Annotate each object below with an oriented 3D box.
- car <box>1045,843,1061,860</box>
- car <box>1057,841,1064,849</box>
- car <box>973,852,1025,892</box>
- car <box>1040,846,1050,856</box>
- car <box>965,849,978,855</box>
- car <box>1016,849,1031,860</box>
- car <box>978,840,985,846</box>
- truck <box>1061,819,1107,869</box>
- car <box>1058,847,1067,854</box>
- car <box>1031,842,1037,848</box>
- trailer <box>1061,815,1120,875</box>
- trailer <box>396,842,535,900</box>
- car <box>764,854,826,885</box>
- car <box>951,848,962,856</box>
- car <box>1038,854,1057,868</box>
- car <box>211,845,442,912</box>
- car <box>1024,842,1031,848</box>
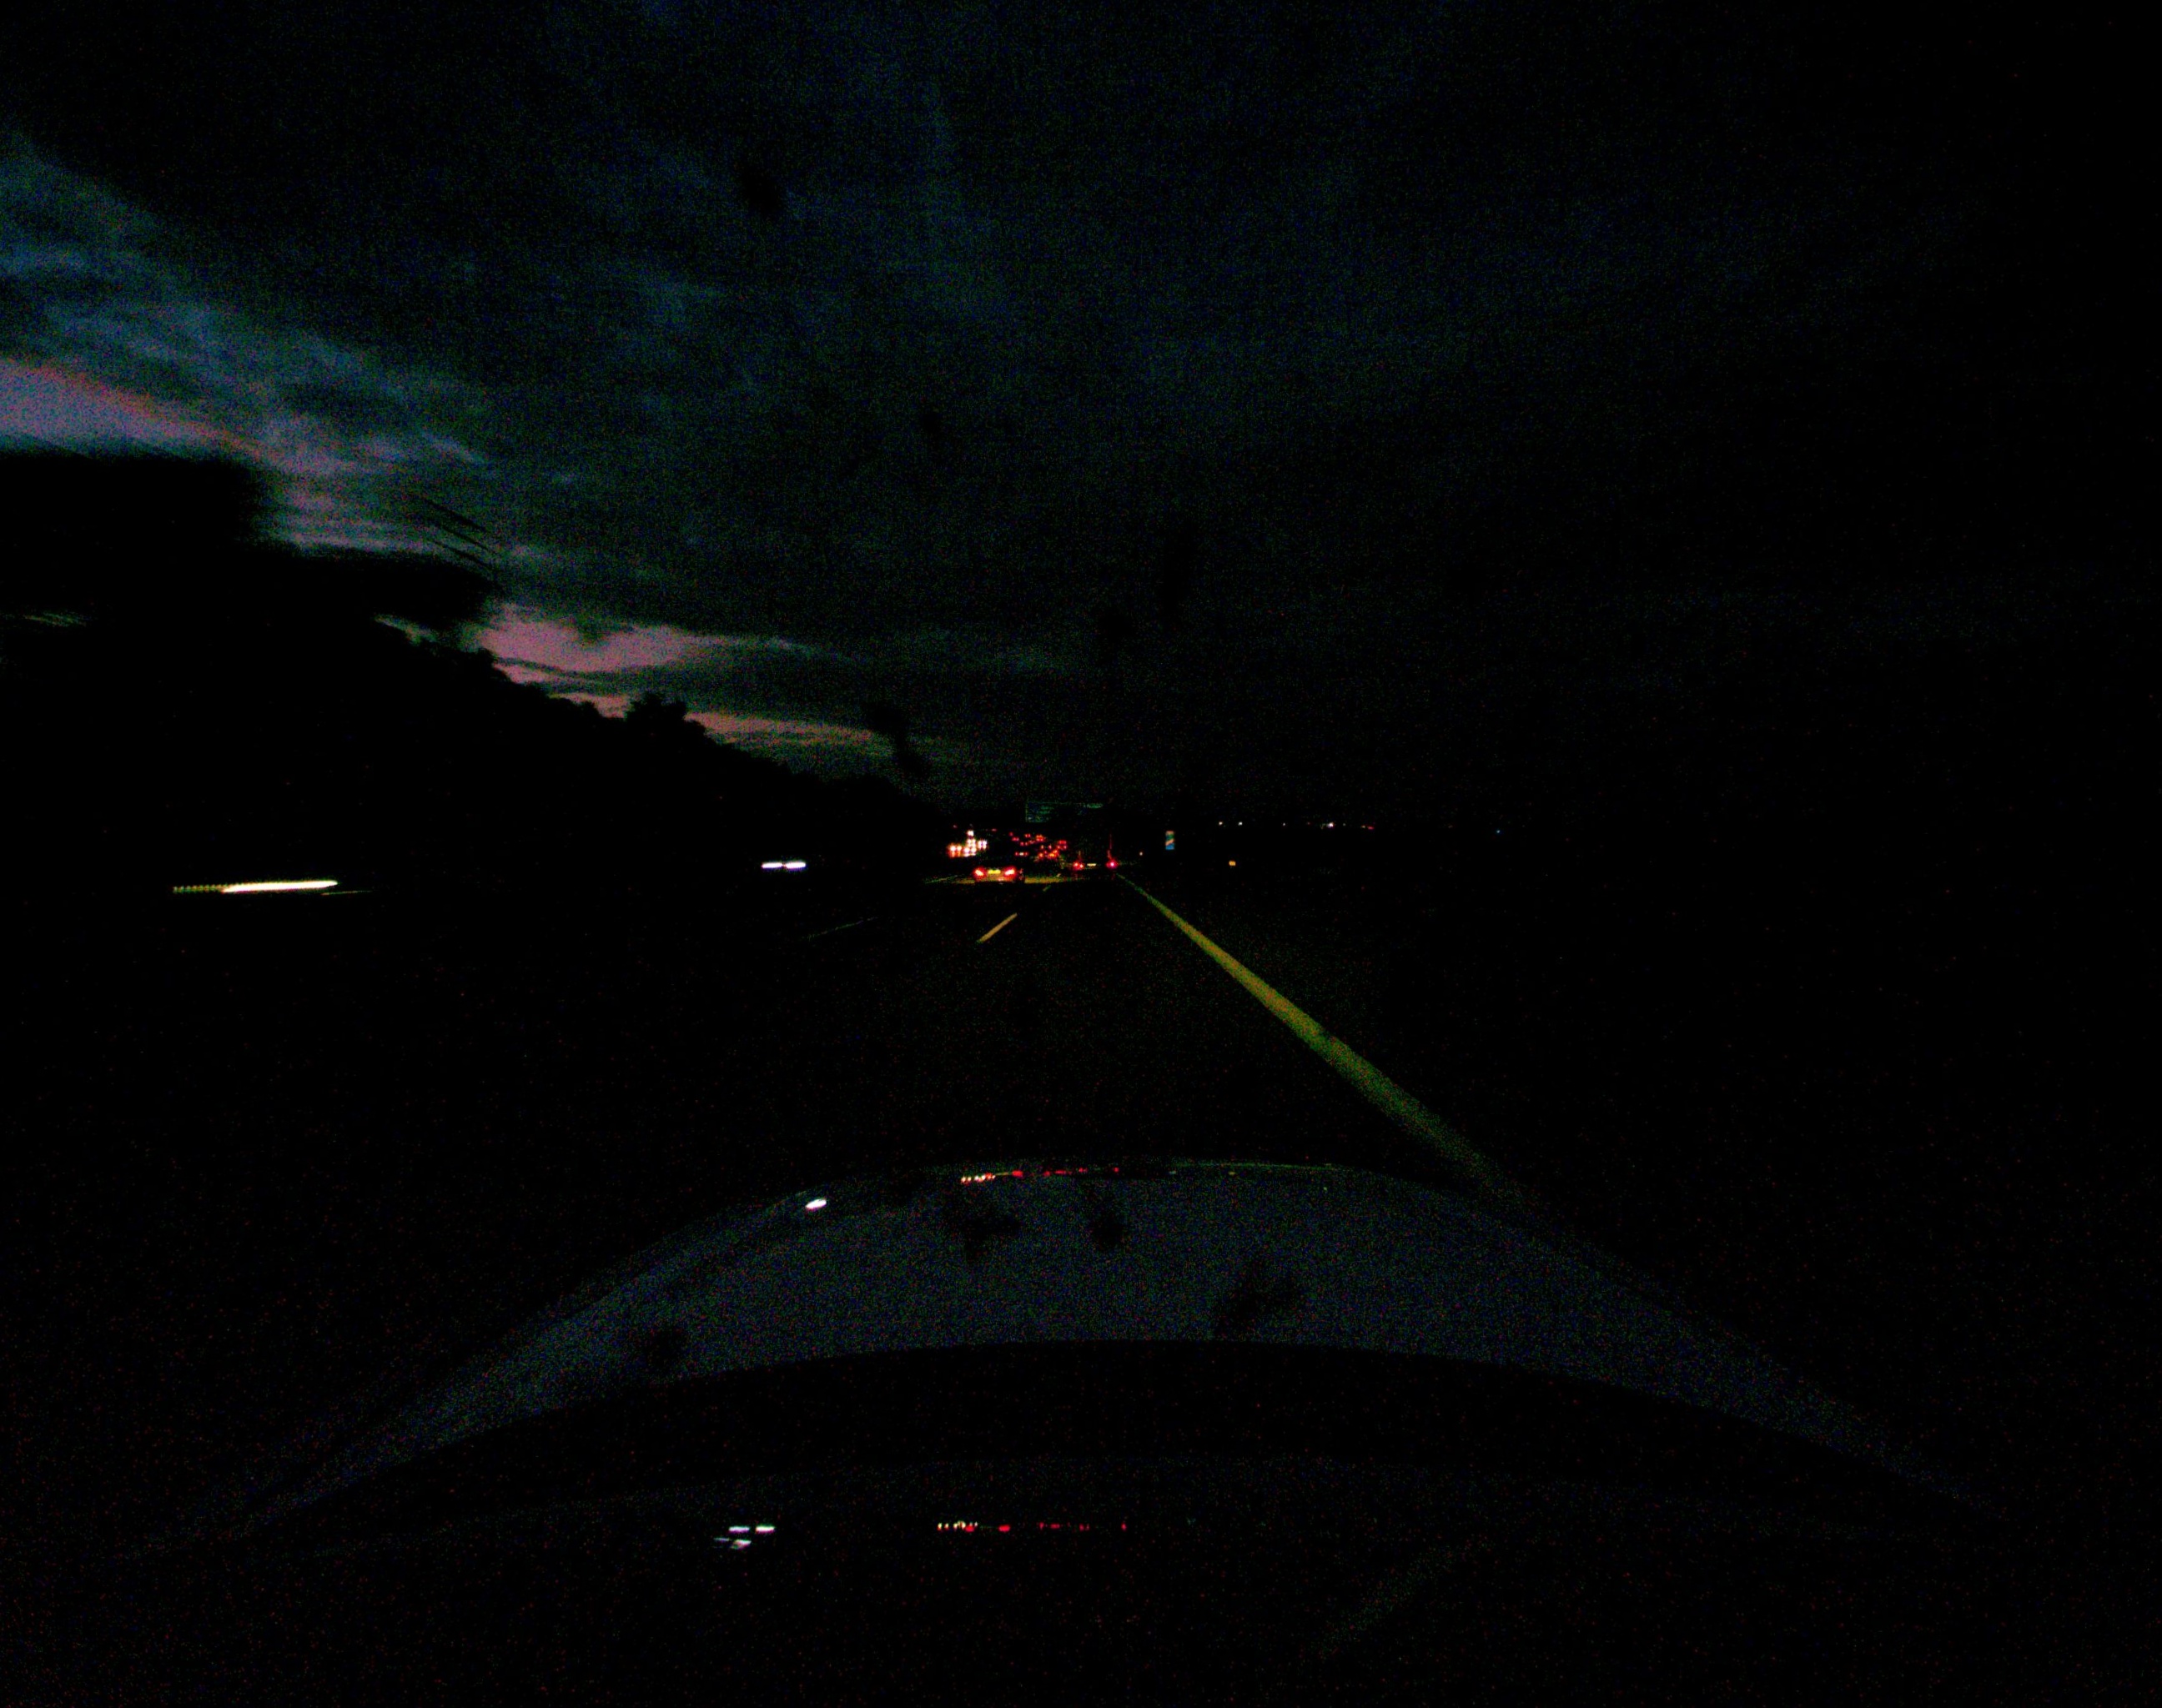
[{"bbox_3d":[-4.006,-0.281,115.921,1.992,2.380,3.989,0,-1,-8],"label":"car"},{"bbox_3d":[-5.735,-2.532,229.734,1.989,1.978,3.996,0,0,-3],"label":"car"},{"bbox_3d":[-3.515,0.757,35.789,1.901,1.614,4.800,0,0,-1],"label":"car"},{"bbox_3d":[-7.520,-0.521,169.443,1.989,2.014,3.996,0,0,-2],"label":"car"},{"bbox_3d":[-22.264,-0.445,165.795,2.053,1.226,5.232,0,0,-1],"label":"car"},{"bbox_3d":[-8.040,0.089,113.344,1.756,1.575,4.575,0,0,0],"label":"car"},{"bbox_3d":[-30.763,-3.344,252.503,1.870,1.893,5.053,0,0,-2],"label":"car"},{"bbox_3d":[0.156,-0.932,70.844,3.543,4.090,6.144,-1,1,-3],"label":"truck"},{"bbox_3d":[-3.967,-0.803,175.079,1.988,1.534,3.998,0,0,-1],"label":"car"},{"bbox_3d":[-14.926,-2.849,259.310,1.990,1.622,3.994,0,0,-4],"label":"car"},{"bbox_3d":[0.507,-0.773,64.283,3.542,4.116,15.047,-1,1,-3],"label":"trailer"},{"bbox_3d":[-23.154,0.590,30.873,1.906,2.002,4.242,1,0,2],"label":"trailer"},{"bbox_3d":[-18.638,0.982,53.344,1.907,1.867,6.014,0,0,0],"label":"car"},{"bbox_3d":[-28.176,-0.424,184.207,1.988,1.893,5.053,0,0,-2],"label":"car"},{"bbox_3d":[-3.953,0.822,96.435,2.059,1.686,4.575,0,0,-1],"label":"car"},{"bbox_3d":[-23.071,0.698,25.331,1.905,1.867,5.526,0,0,2],"label":"car"},{"bbox_3d":[-15.473,-2.592,235.311,1.988,1.622,3.998,0,0,-1],"label":"car"}]
